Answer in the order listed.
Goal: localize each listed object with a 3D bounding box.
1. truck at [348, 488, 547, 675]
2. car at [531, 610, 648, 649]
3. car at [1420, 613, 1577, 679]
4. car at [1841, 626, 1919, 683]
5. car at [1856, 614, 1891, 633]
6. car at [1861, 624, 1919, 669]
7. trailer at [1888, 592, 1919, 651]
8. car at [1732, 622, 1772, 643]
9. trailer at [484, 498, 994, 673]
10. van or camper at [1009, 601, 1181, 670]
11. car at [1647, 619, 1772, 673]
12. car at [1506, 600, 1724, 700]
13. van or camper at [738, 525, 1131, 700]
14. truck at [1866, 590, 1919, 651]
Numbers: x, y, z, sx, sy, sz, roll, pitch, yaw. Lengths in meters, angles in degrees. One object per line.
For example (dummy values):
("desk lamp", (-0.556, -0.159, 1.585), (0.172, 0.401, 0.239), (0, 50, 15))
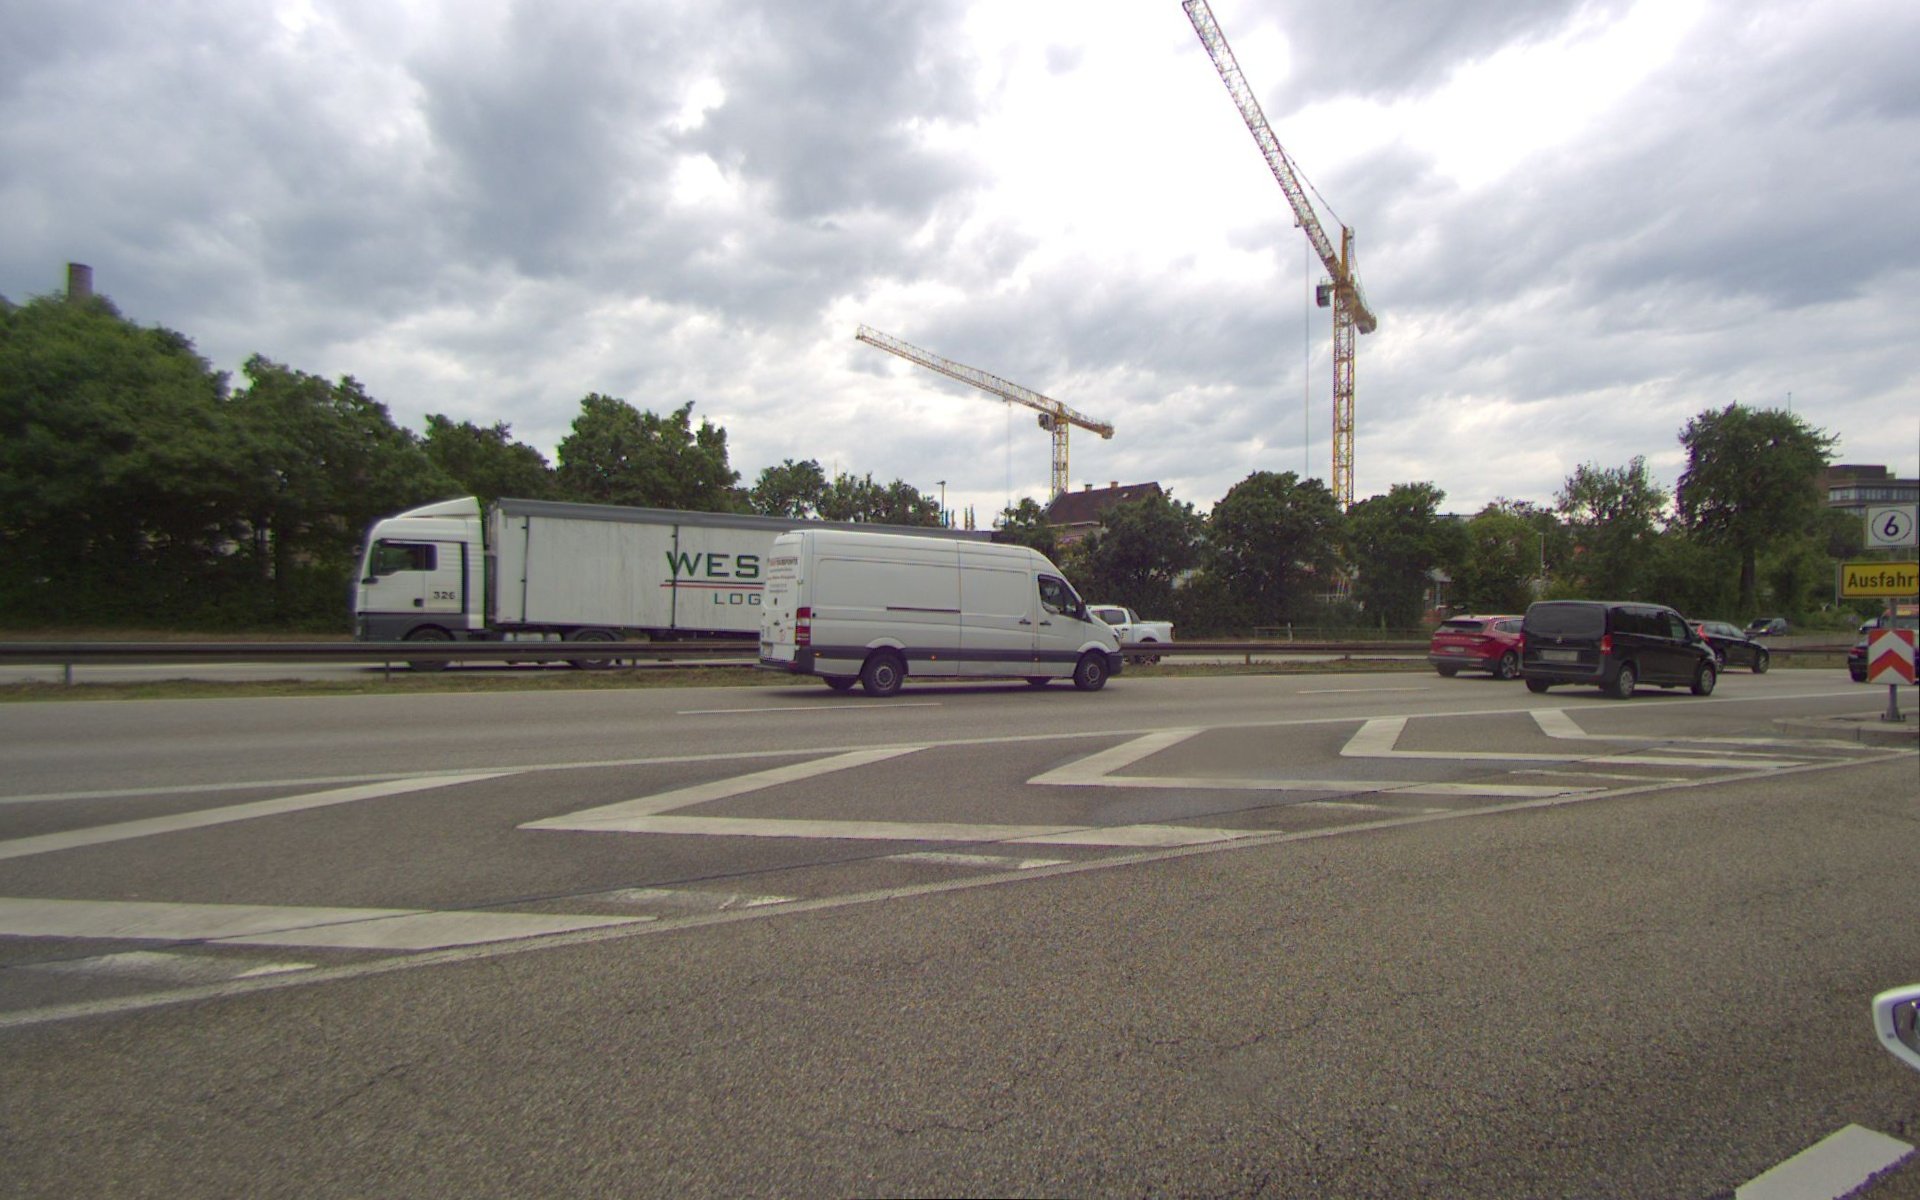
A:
("truck", (-12.105, -0.349, 23.798), (3.953, 4.043, 2.584), (1, -1, -30))
("car", (-12.245, 0.967, 33.216), (3.399, 1.209, 1.532), (1, -1, -31))
("car", (13.977, 1.165, 26.041), (3.896, 1.588, 1.759), (1, -1, -29))
("car", (27.178, 1.513, 28.609), (4.610, 1.476, 1.705), (1, 0, -29))
("car", (82.222, 2.097, 90.377), (3.206, 1.607, 1.430), (1, -1, -30))
("car", (38.249, 1.842, 40.384), (4.257, 1.704, 1.881), (1, -1, -31))
("trailer", (73.209, 1.670, 74.464), (13.195, 4.118, 2.751), (1, -1, -30))
("car", (62.582, 2.600, 79.342), (3.206, 1.595, 1.430), (1, -1, -30))
("trailer", (-5.496, -0.187, 27.717), (13.622, 4.035, 2.581), (1, -1, -31))
("van or camper", (3.893, 0.995, 28.574), (4.849, 1.817, 1.691), (1, -1, -31))
("car", (24.633, 1.484, 32.995), (4.216, 1.657, 1.744), (1, 0, -30))
("car", (13.764, 0.993, 21.041), (4.757, 1.876, 1.983), (1, 0, -31))
("van or camper", (-0.285, 0.269, 17.861), (6.875, 2.656, 2.039), (1, -1, -31))
("truck", (66.364, 1.432, 70.473), (4.849, 4.118, 2.750), (1, -1, -30))
